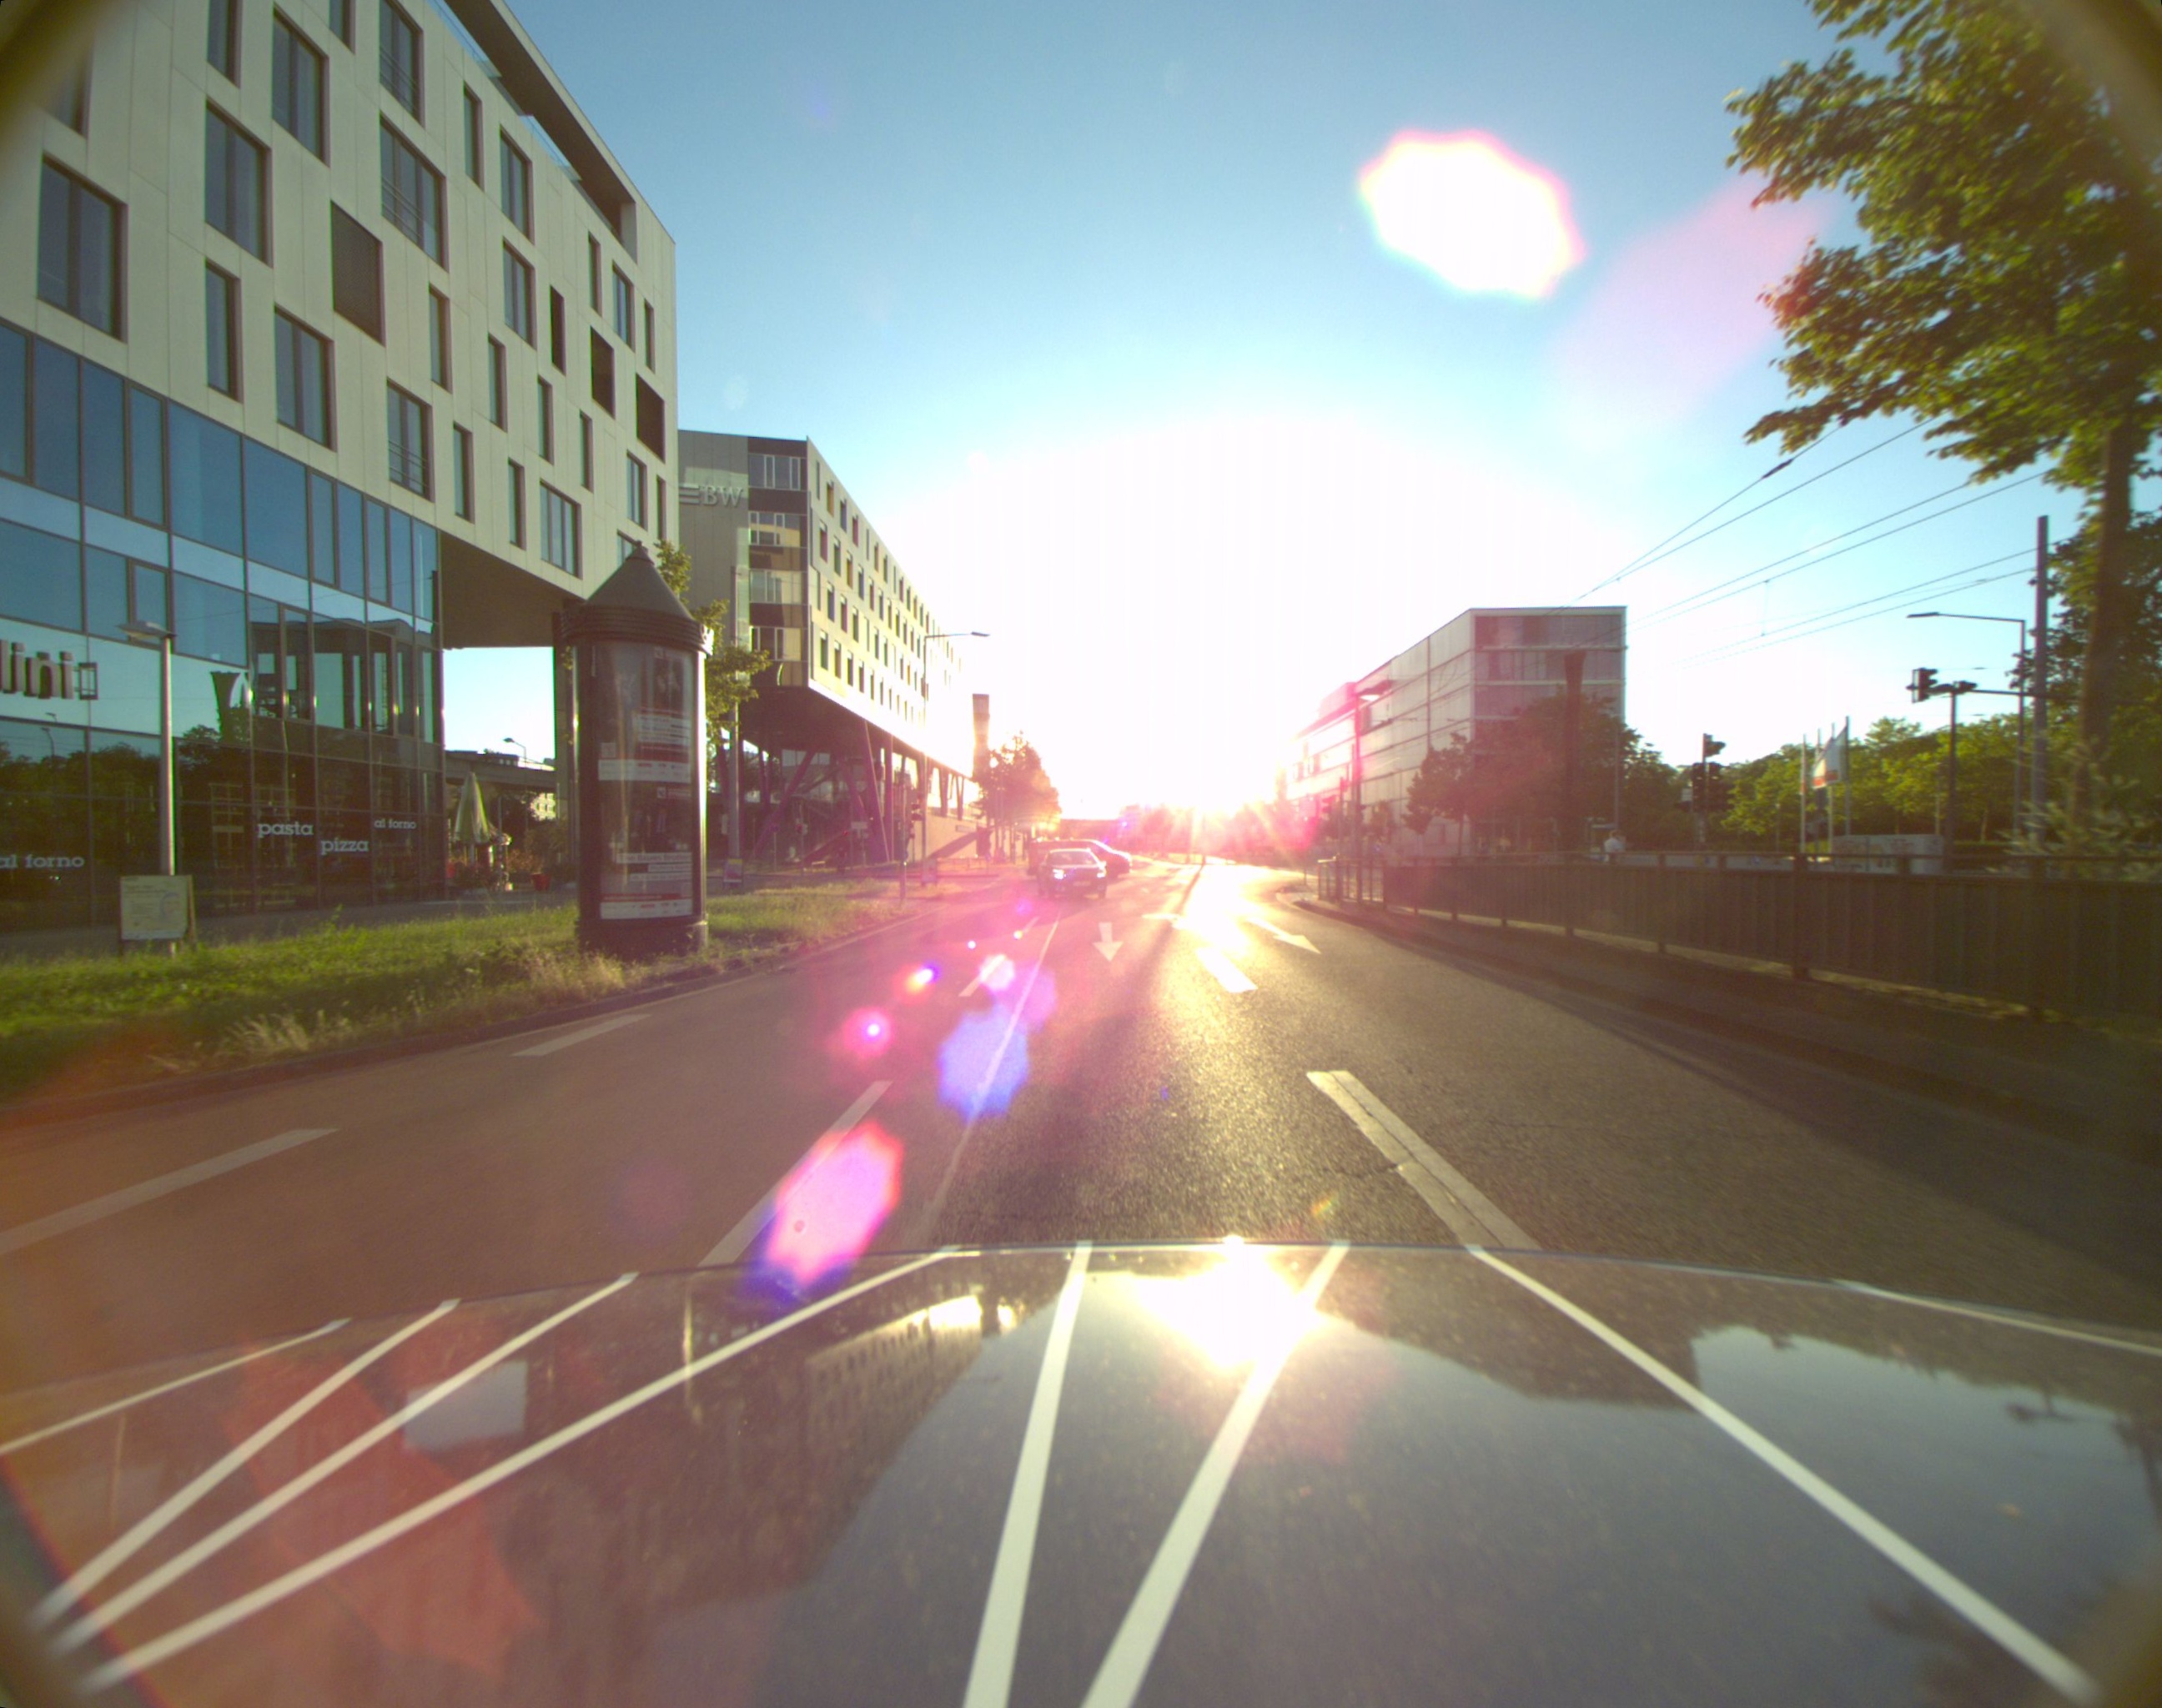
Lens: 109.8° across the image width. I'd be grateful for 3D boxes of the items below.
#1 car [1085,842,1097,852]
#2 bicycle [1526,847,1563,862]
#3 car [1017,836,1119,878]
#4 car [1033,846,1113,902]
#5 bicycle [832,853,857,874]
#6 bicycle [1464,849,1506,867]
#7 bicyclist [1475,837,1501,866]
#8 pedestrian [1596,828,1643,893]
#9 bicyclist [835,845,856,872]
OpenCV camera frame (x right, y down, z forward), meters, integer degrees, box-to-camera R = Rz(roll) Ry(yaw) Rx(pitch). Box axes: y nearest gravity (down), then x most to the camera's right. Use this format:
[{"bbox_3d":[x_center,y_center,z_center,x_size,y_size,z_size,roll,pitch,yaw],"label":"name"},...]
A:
[{"bbox_3d":[1.748,-1.315,136.185,1.999,1.697,3.999,0,1,-1],"label":"car"},{"bbox_3d":[35.210,0.015,57.727,2.391,1.129,0.701,0,2,0],"label":"bicycle"},{"bbox_3d":[-0.594,0.125,36.665,4.818,1.980,1.932,0,2,1],"label":"car"},{"bbox_3d":[-0.335,0.539,23.566,1.761,1.543,4.067,0,1,-11],"label":"car"},{"bbox_3d":[-14.455,0.559,46.467,0.742,1.200,2.110,0,1,5],"label":"bicycle"},{"bbox_3d":[24.094,0.208,45.286,2.120,1.062,0.636,0,2,3],"label":"bicycle"},{"bbox_3d":[24.223,-0.169,45.230,0.995,1.708,1.035,0,2,3],"label":"bicyclist"},{"bbox_3d":[15.282,0.157,21.554,0.803,1.781,0.762,-2,4,-29],"label":"pedestrian"},{"bbox_3d":[-14.422,0.288,46.492,0.807,1.624,1.288,0,1,4],"label":"bicyclist"}]
